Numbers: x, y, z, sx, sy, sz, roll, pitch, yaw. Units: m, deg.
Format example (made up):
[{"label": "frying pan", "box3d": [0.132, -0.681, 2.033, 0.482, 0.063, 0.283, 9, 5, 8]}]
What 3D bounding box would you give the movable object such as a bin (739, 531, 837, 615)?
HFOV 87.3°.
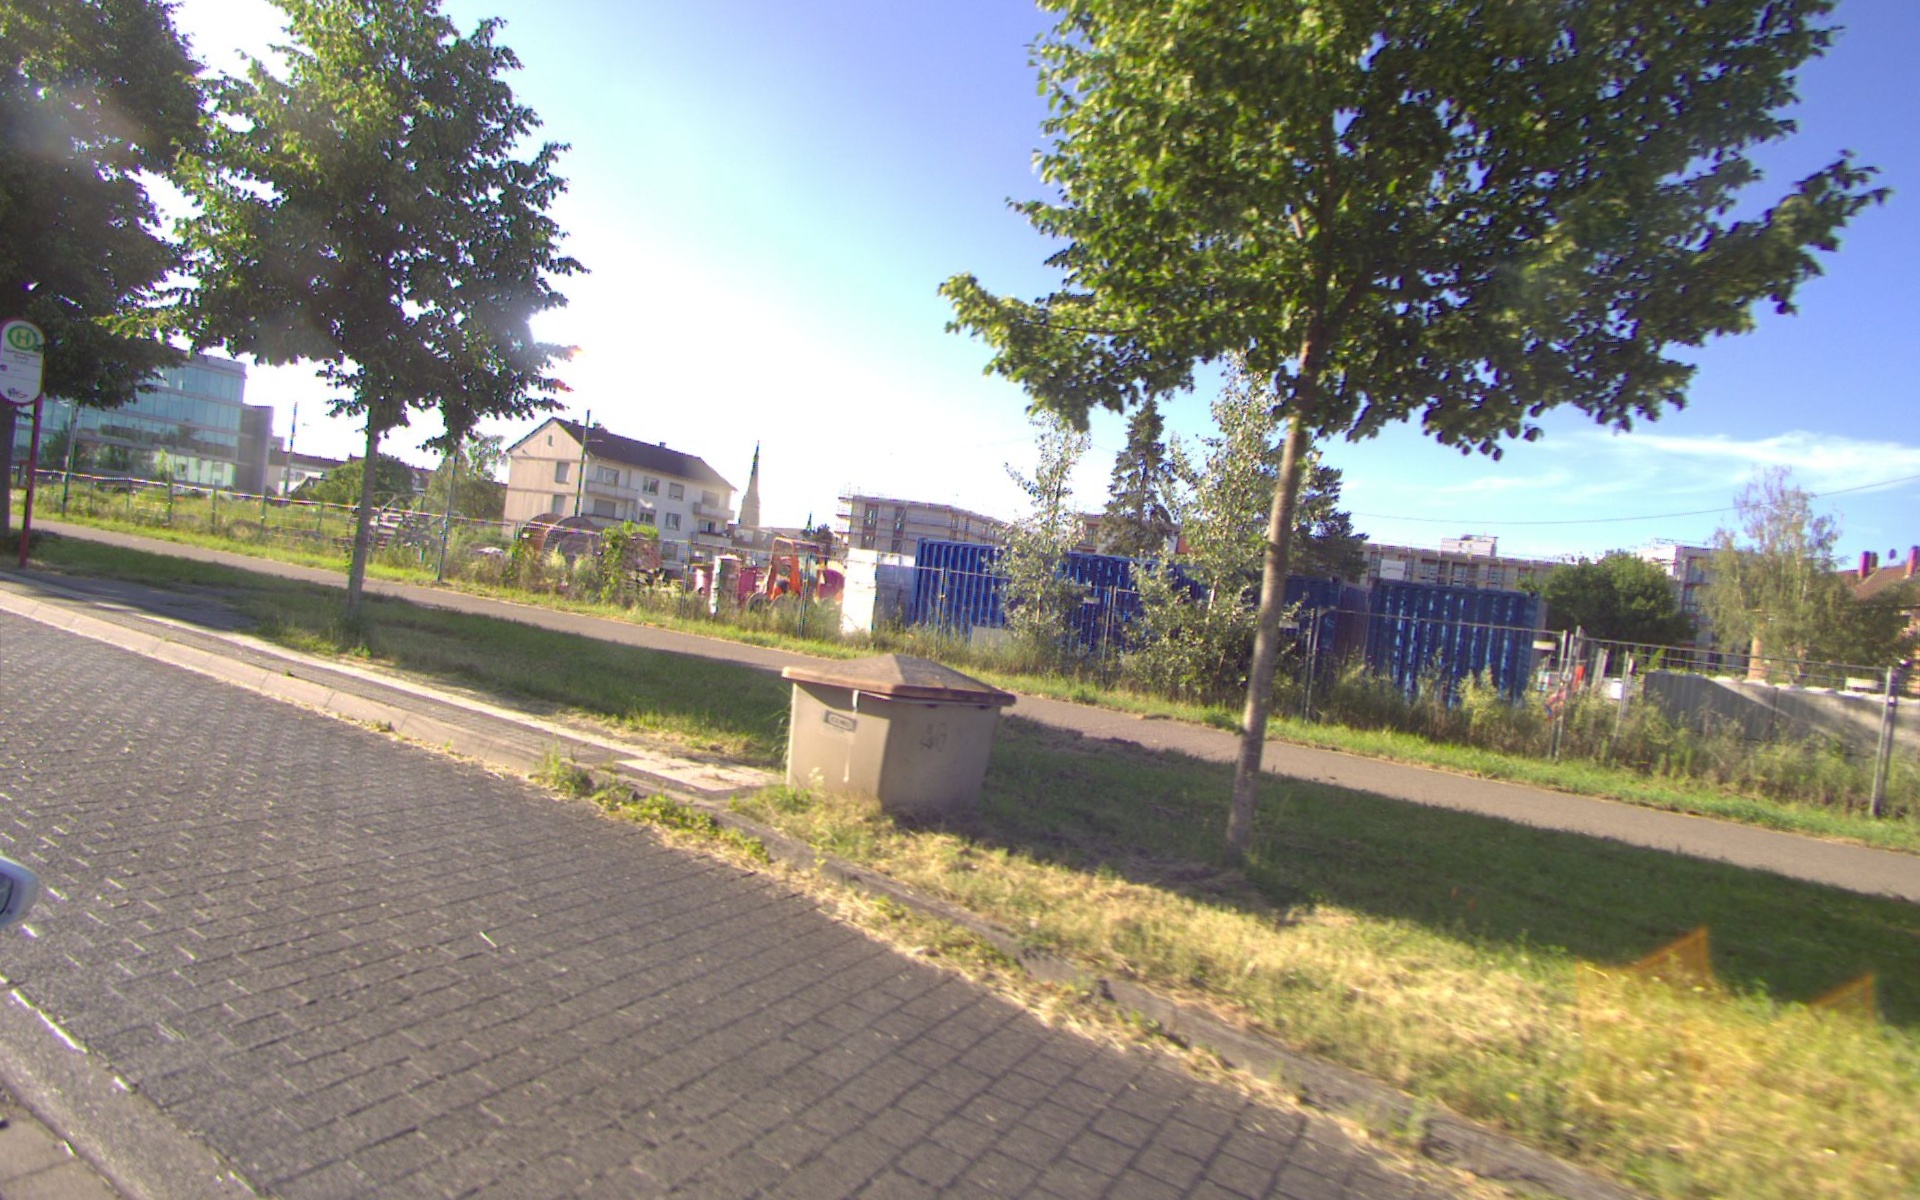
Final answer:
[{"label": "movable object such as a bin", "box3d": [-4.734, -0.743, 27.747, 1.760, 2.038, 1.797, 5, -1, 32]}]
